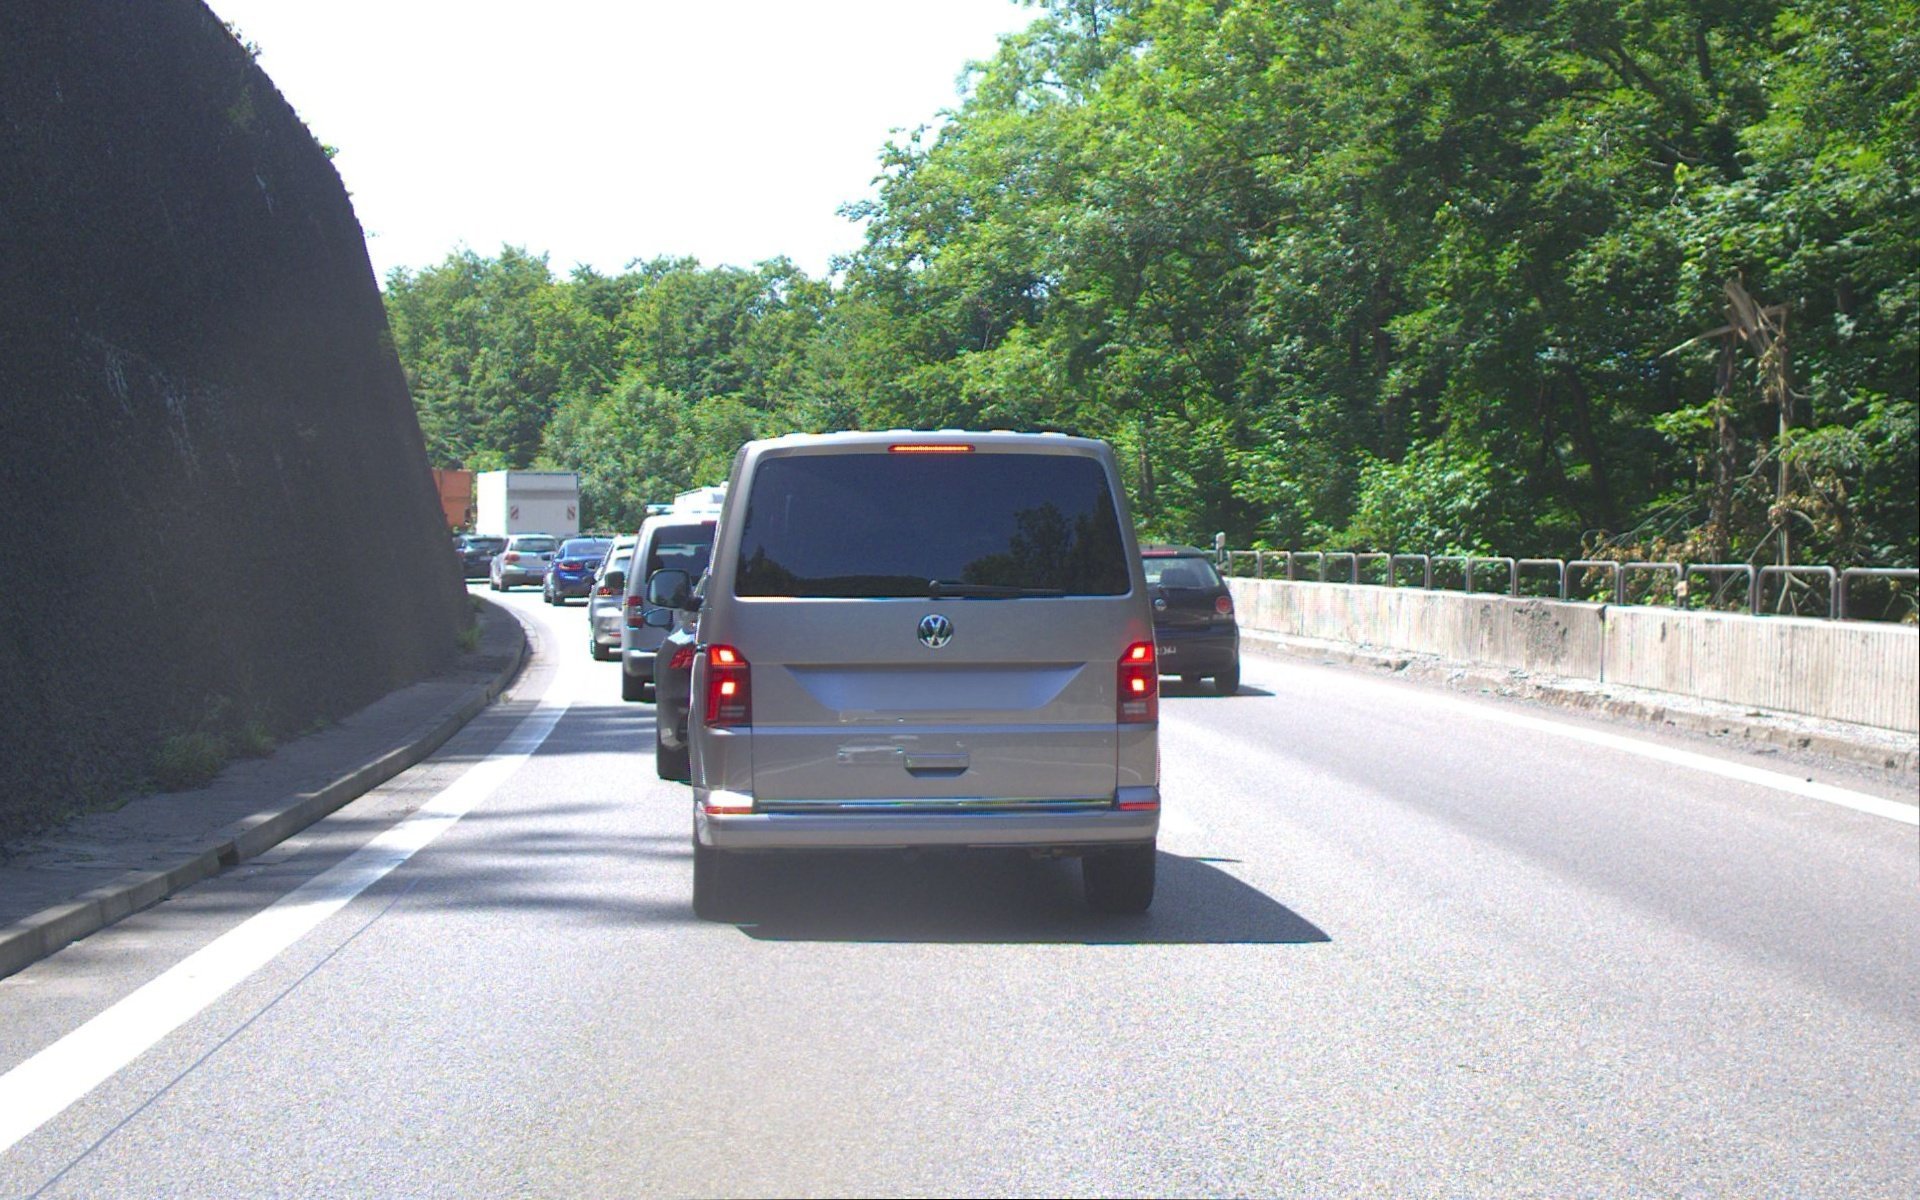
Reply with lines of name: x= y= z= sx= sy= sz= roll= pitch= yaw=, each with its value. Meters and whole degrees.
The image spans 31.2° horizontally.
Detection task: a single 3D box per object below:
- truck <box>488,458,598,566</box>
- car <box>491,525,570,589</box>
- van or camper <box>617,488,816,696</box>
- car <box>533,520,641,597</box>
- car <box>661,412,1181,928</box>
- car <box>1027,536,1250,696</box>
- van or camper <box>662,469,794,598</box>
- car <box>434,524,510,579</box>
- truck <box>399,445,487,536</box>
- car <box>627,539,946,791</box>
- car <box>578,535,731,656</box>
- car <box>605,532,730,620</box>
truck: x=-14.801 y=-3.087 z=121.573 sx=2.924 sy=3.674 sz=7.727 roll=0 pitch=1 yaw=-14
car: x=-11.163 y=-1.132 z=89.278 sx=1.993 sy=1.612 sz=4.001 roll=0 pitch=1 yaw=-7
van or camper: x=-2.445 y=-0.115 z=34.246 sx=1.853 sy=1.935 sz=4.166 roll=0 pitch=1 yaw=-5
car: x=-8.117 y=-0.911 z=74.610 sx=1.857 sy=1.614 sz=4.001 roll=0 pitch=1 yaw=-13
car: x=-0.305 y=0.223 z=15.359 sx=1.940 sy=1.924 sz=4.695 roll=1 pitch=1 yaw=-4
car: x=1.723 y=0.117 z=34.411 sx=1.684 sy=1.453 sz=4.001 roll=2 pitch=1 yaw=-5
van or camper: x=-5.739 y=-1.648 z=84.341 sx=2.603 sy=2.845 sz=6.337 roll=5 pitch=1 yaw=-8
car: x=-14.351 y=-1.446 z=100.919 sx=1.750 sy=1.565 sz=3.772 roll=0 pitch=1 yaw=-15
truck: x=-21.789 y=-4.579 z=144.573 sx=3.162 sy=3.456 sz=8.224 roll=5 pitch=1 yaw=-10
car: x=-1.077 y=0.365 z=23.228 sx=1.905 sy=1.484 sz=4.379 roll=2 pitch=1 yaw=0
car: x=-3.956 y=-0.092 z=45.015 sx=1.771 sy=1.467 sz=4.001 roll=1 pitch=1 yaw=-2
car: x=-5.207 y=-0.444 z=60.790 sx=1.862 sy=1.481 sz=4.001 roll=0 pitch=1 yaw=-10
